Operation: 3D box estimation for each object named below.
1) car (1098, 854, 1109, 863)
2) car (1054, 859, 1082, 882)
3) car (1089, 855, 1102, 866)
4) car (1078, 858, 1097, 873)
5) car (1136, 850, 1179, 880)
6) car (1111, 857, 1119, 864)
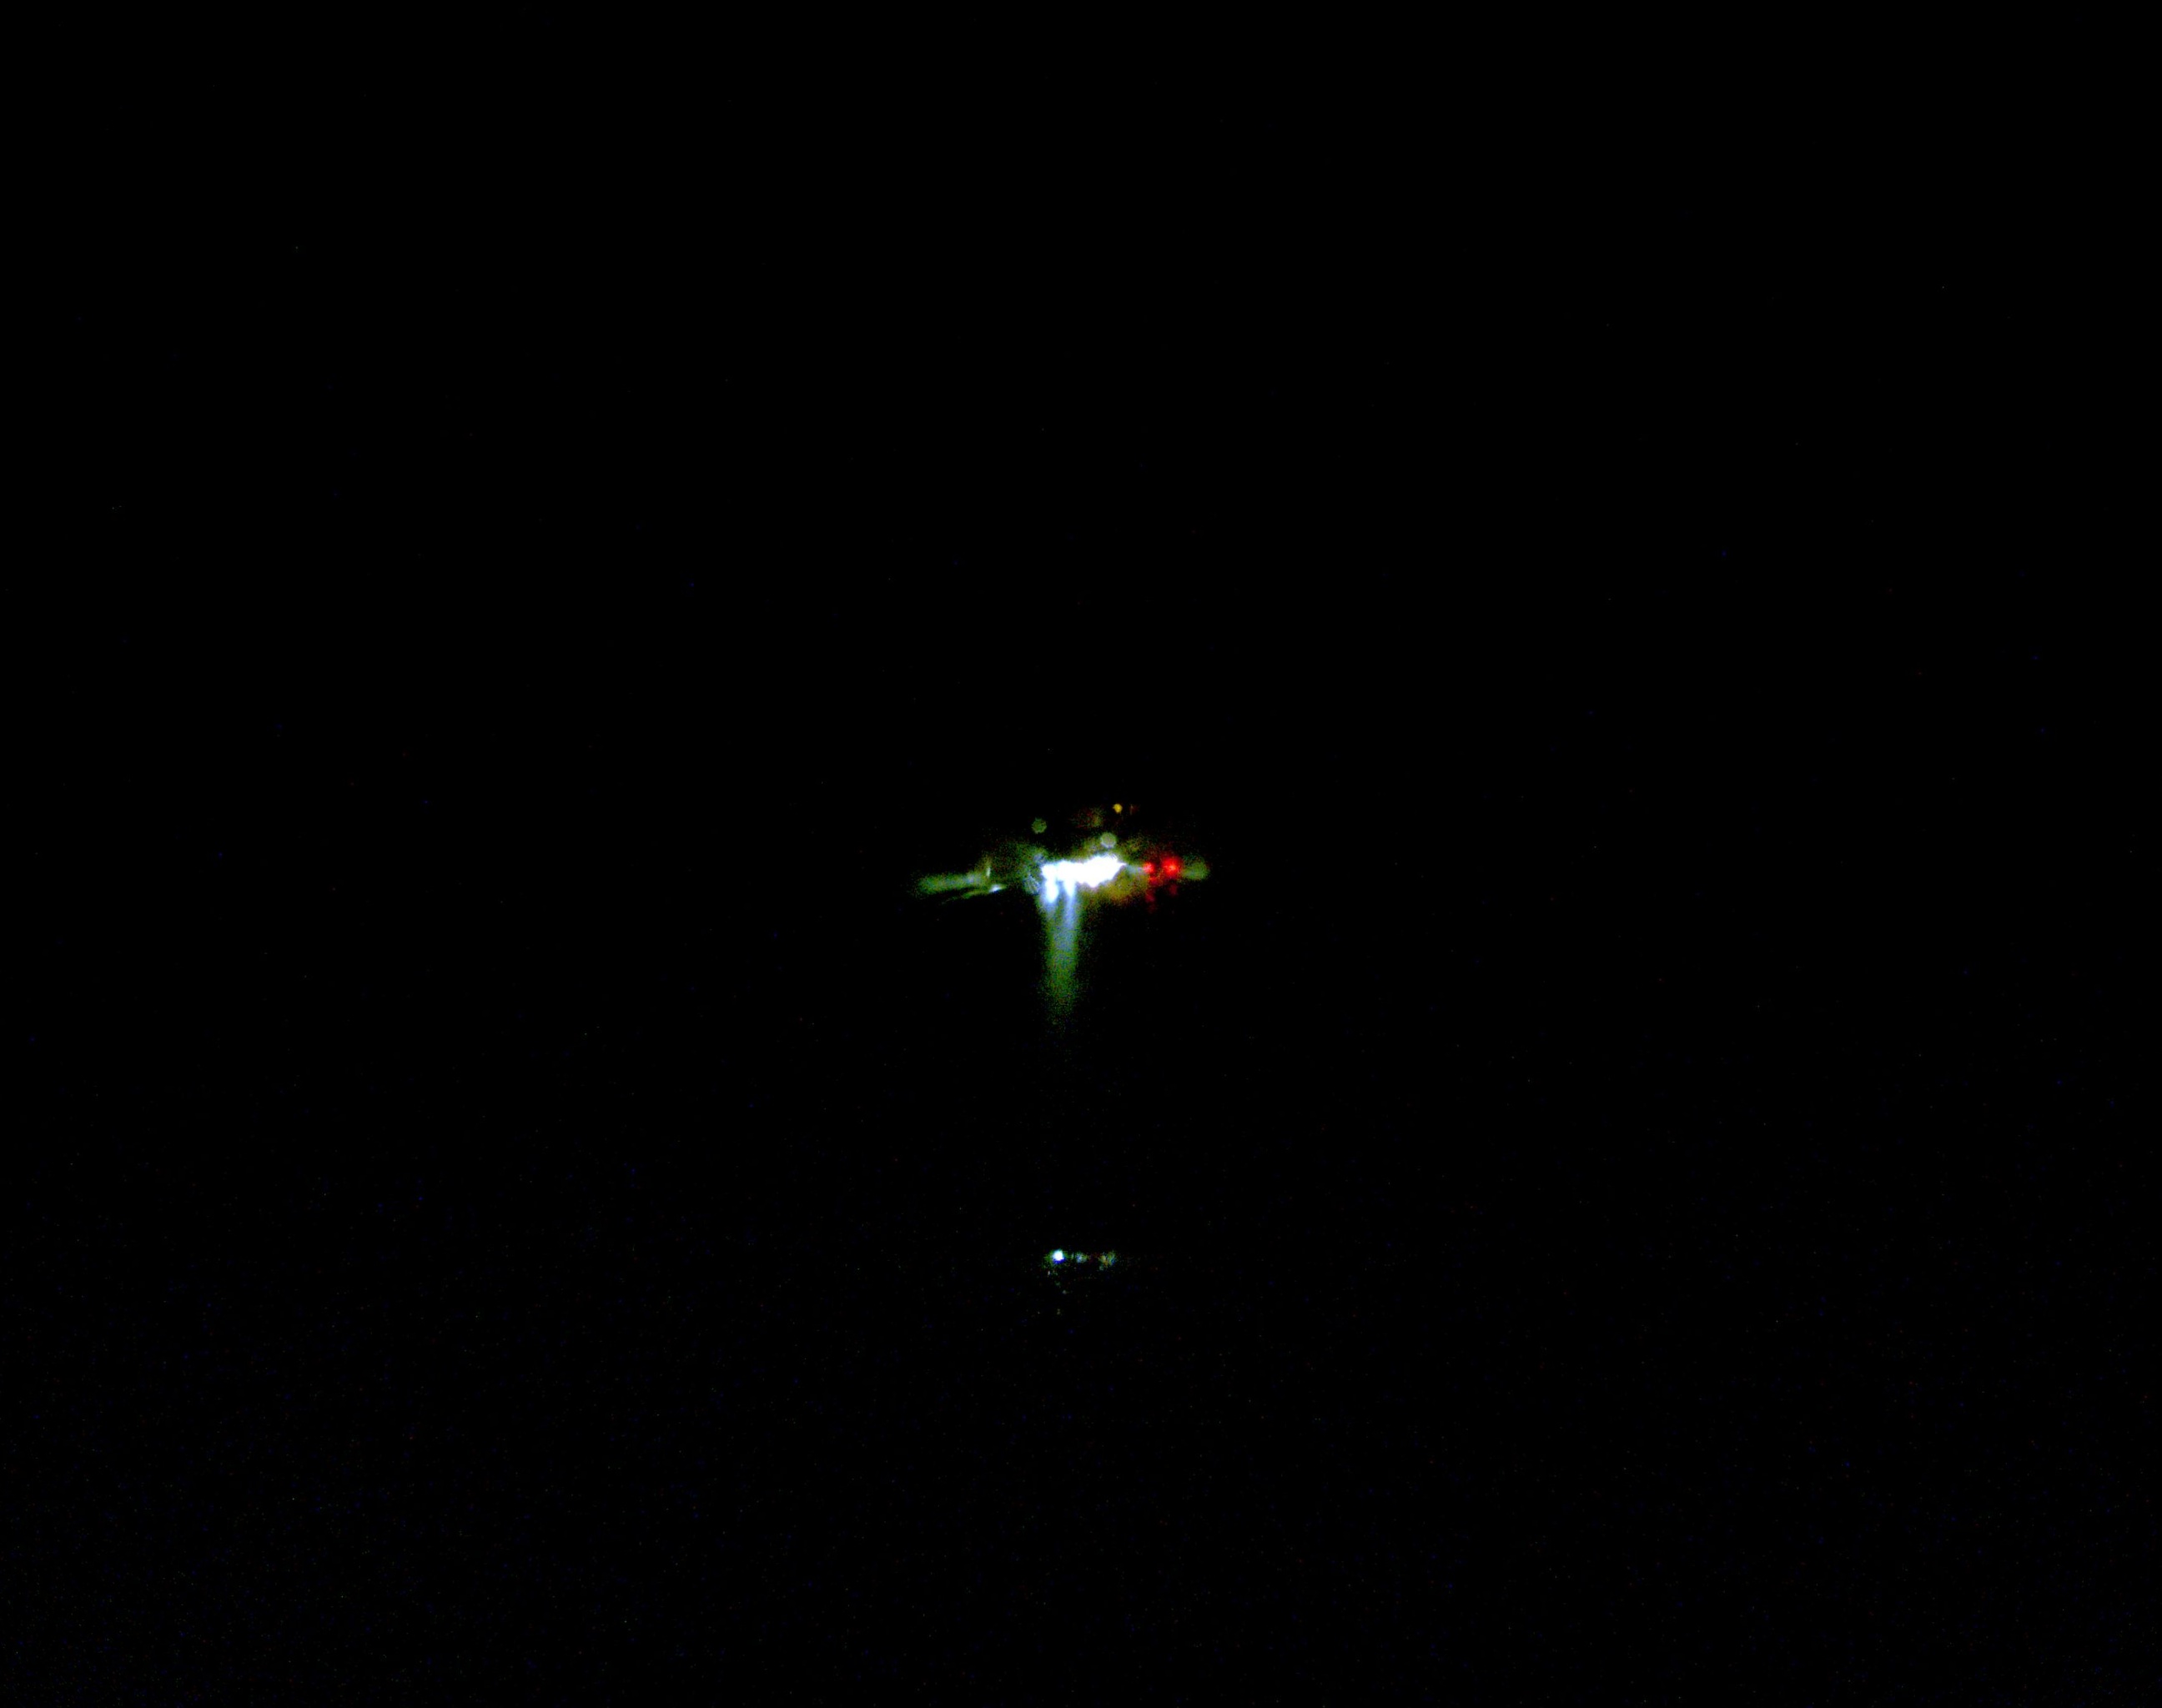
[{"bbox_3d":[4.262,0.773,146.355,1.998,1.576,4.000,-3,0,1],"label":"car"},{"bbox_3d":[-0.985,1.243,59.190,1.998,1.576,4.000,-3,0,1],"label":"car"},{"bbox_3d":[2.378,1.071,124.082,1.998,1.576,4.000,-3,0,1],"label":"car"},{"bbox_3d":[0.707,1.297,86.130,1.998,1.576,4.000,-3,0,1],"label":"car"},{"bbox_3d":[4.181,0.571,42.137,1.998,1.465,4.275,-3,1,1],"label":"car"},{"bbox_3d":[9.083,1.688,203.511,1.998,1.576,4.000,-3,0,1],"label":"car"}]
